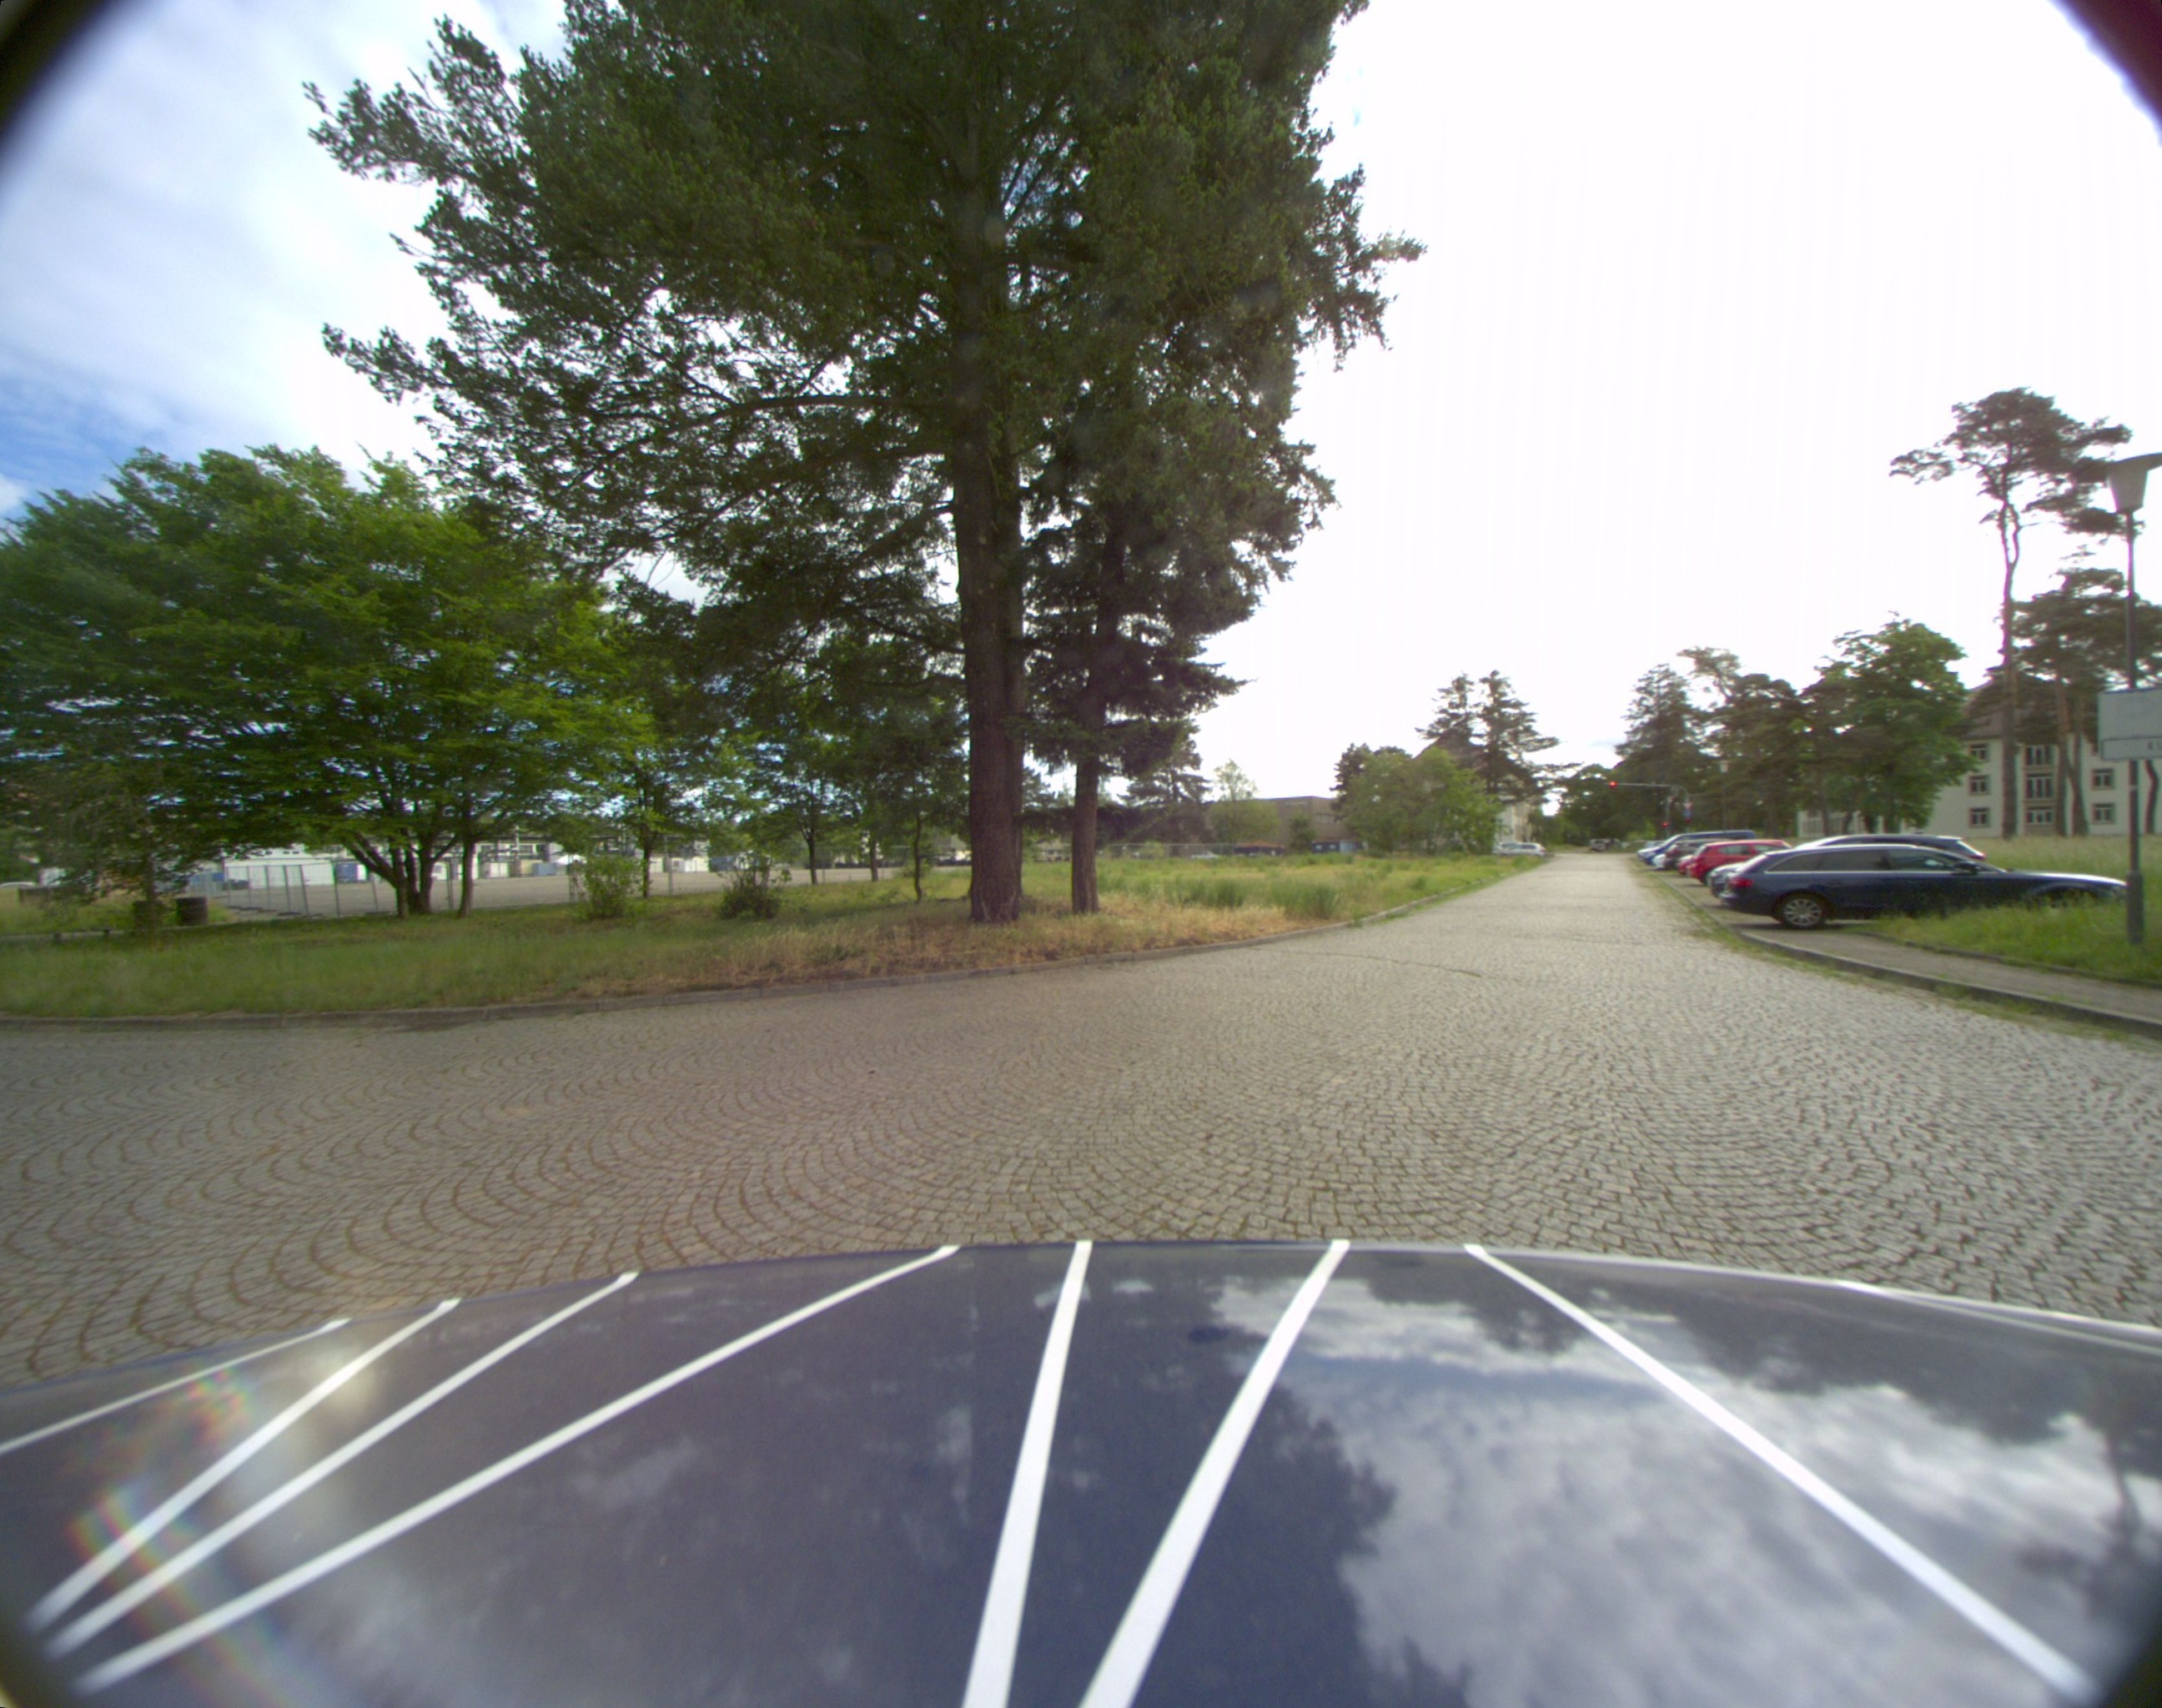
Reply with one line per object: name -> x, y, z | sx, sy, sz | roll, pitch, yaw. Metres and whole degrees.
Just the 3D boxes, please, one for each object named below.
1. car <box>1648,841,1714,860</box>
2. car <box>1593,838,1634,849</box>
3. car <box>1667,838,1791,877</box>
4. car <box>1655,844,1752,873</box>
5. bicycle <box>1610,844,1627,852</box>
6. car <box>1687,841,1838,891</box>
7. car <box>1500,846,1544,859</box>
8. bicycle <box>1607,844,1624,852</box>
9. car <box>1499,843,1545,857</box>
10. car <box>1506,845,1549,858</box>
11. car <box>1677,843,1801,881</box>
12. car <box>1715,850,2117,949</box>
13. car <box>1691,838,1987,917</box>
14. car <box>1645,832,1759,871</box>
car -> 47.539, -0.279, 60.266 | 3.943, 1.331, 1.587 | -3, 0, 34
car -> 82.284, -1.586, 117.451 | 4.974, 1.612, 1.905 | -1, 1, 28
car -> 28.495, 0.180, 33.585 | 3.943, 1.536, 1.767 | -3, 0, 34
car -> 31.835, 0.239, 38.994 | 3.685, 1.331, 1.587 | -3, 0, 34
bicycle -> 73.296, -0.859, 103.563 | 1.857, 1.089, 0.512 | -1, 1, 27
car -> 22.413, 0.409, 25.161 | 3.490, 1.473, 1.605 | -3, 0, 34
car -> 38.050, -0.111, 65.603 | 3.260, 1.081, 1.452 | -1, 1, 31
bicycle -> 72.293, -0.819, 102.718 | 1.857, 1.089, 0.512 | -1, 1, 27
car -> 40.768, -0.349, 70.272 | 3.586, 1.203, 1.587 | -1, 1, 34
car -> 39.661, -0.178, 67.479 | 3.260, 1.081, 1.399 | -1, 1, 31
car -> 26.989, 0.345, 31.333 | 3.654, 1.413, 1.580 | -3, 0, 33
car -> 13.685, 0.725, 12.941 | 4.343, 1.396, 1.768 | -2, 0, 38
car -> 16.432, 0.525, 16.851 | 4.354, 1.553, 1.767 | -2, 0, 34
car -> 33.374, -0.112, 40.993 | 4.533, 1.890, 1.797 | -3, 0, 34
